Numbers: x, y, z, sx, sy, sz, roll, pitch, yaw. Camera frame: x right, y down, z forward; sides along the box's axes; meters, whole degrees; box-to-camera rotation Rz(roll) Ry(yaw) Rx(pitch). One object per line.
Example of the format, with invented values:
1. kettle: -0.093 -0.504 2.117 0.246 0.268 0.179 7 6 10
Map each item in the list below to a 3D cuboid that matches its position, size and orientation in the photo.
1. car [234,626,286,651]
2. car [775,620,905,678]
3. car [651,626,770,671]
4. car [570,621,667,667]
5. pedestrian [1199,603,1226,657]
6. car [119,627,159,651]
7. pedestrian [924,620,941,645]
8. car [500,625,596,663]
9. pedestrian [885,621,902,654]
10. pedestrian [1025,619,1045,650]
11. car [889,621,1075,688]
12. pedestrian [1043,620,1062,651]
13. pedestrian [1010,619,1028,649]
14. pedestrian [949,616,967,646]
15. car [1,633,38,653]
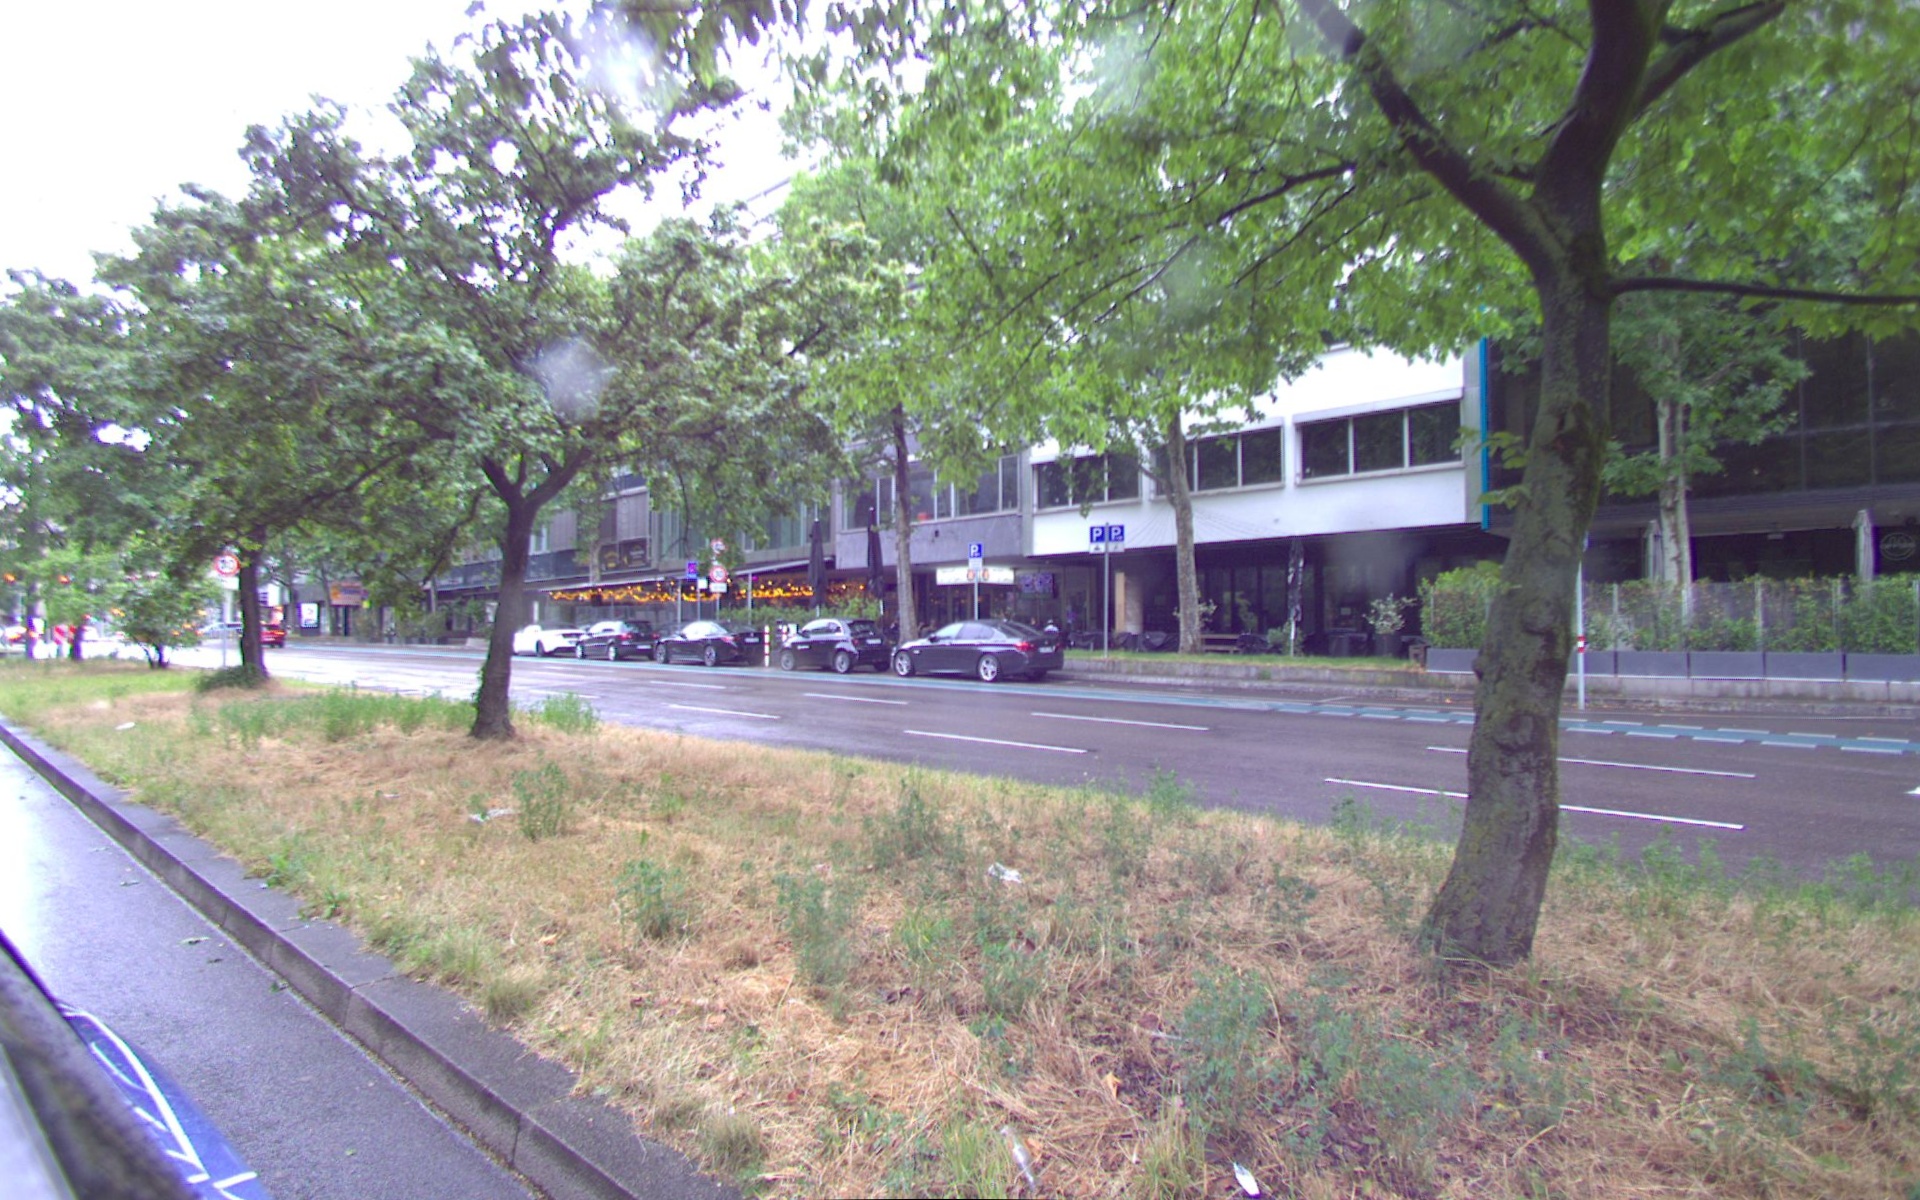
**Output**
1. car: -41.191 2.223 59.517 3.737 1.335 1.742 0 0 42
2. car: -3.384 1.319 28.324 3.400 1.433 1.851 0 0 42
3. car: -8.032 1.495 32.397 4.319 1.249 1.625 0 0 44
4. car: -12.319 1.538 36.412 3.788 1.464 1.727 0 0 42
5. pedestrian: 7.887 0.918 31.660 0.623 1.660 0.598 -1 0 37
6. car: -66.048 3.141 81.419 3.954 1.799 1.913 0 0 42
7. pedestrian: -0.975 1.163 36.461 0.433 0.856 0.435 -1 0 39
8. car: -16.501 1.719 40.406 4.392 1.336 1.856 0 0 43
9. pedestrian: -2.468 1.383 37.434 0.466 1.195 0.440 -1 0 38
10. pedestrian: 2.461 1.131 33.176 0.488 1.008 0.481 -1 0 26
11. car: 0.448 1.251 24.745 1.849 1.396 4.539 -1 0 -45
12. pedestrian: 3.010 1.147 32.922 0.451 0.970 0.454 -1 0 26
13. pedestrian: 1.964 1.122 33.499 0.461 1.000 0.455 -1 0 26
14. pedestrian: -0.058 1.068 35.433 0.423 1.024 0.459 -1 0 39
15. car: -73.852 3.359 79.486 3.524 1.400 1.657 -1 0 39
